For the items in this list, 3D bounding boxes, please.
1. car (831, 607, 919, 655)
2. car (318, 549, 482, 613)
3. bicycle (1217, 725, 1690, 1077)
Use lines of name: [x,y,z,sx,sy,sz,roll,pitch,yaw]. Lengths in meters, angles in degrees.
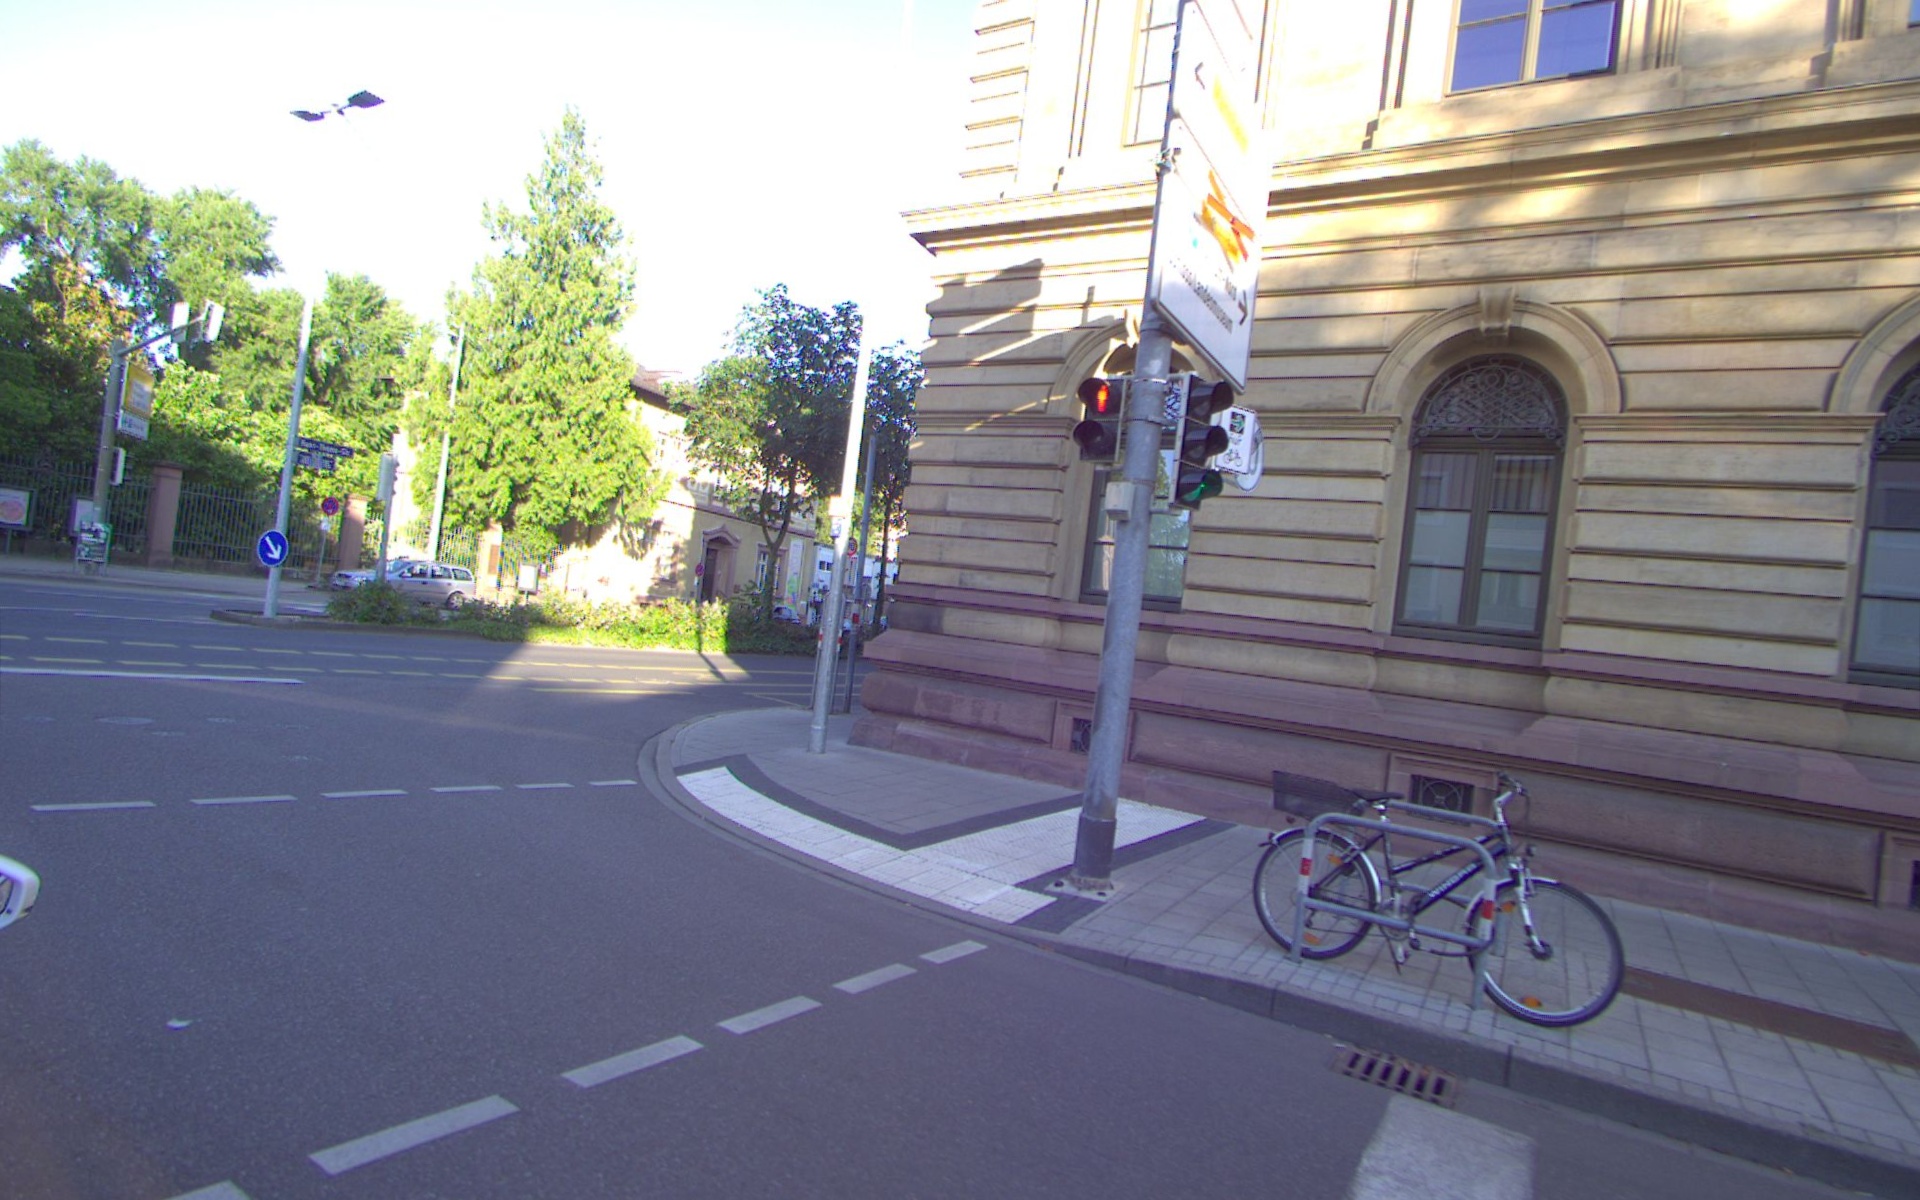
car: [-3.521,1.350,42.475,1.802,1.631,4.076,6,-2,25]
car: [-17.578,-0.551,31.777,1.685,1.462,4.196,7,-2,27]
bicycle: [2.324,1.339,4.915,1.889,1.202,0.583,5,-2,32]
